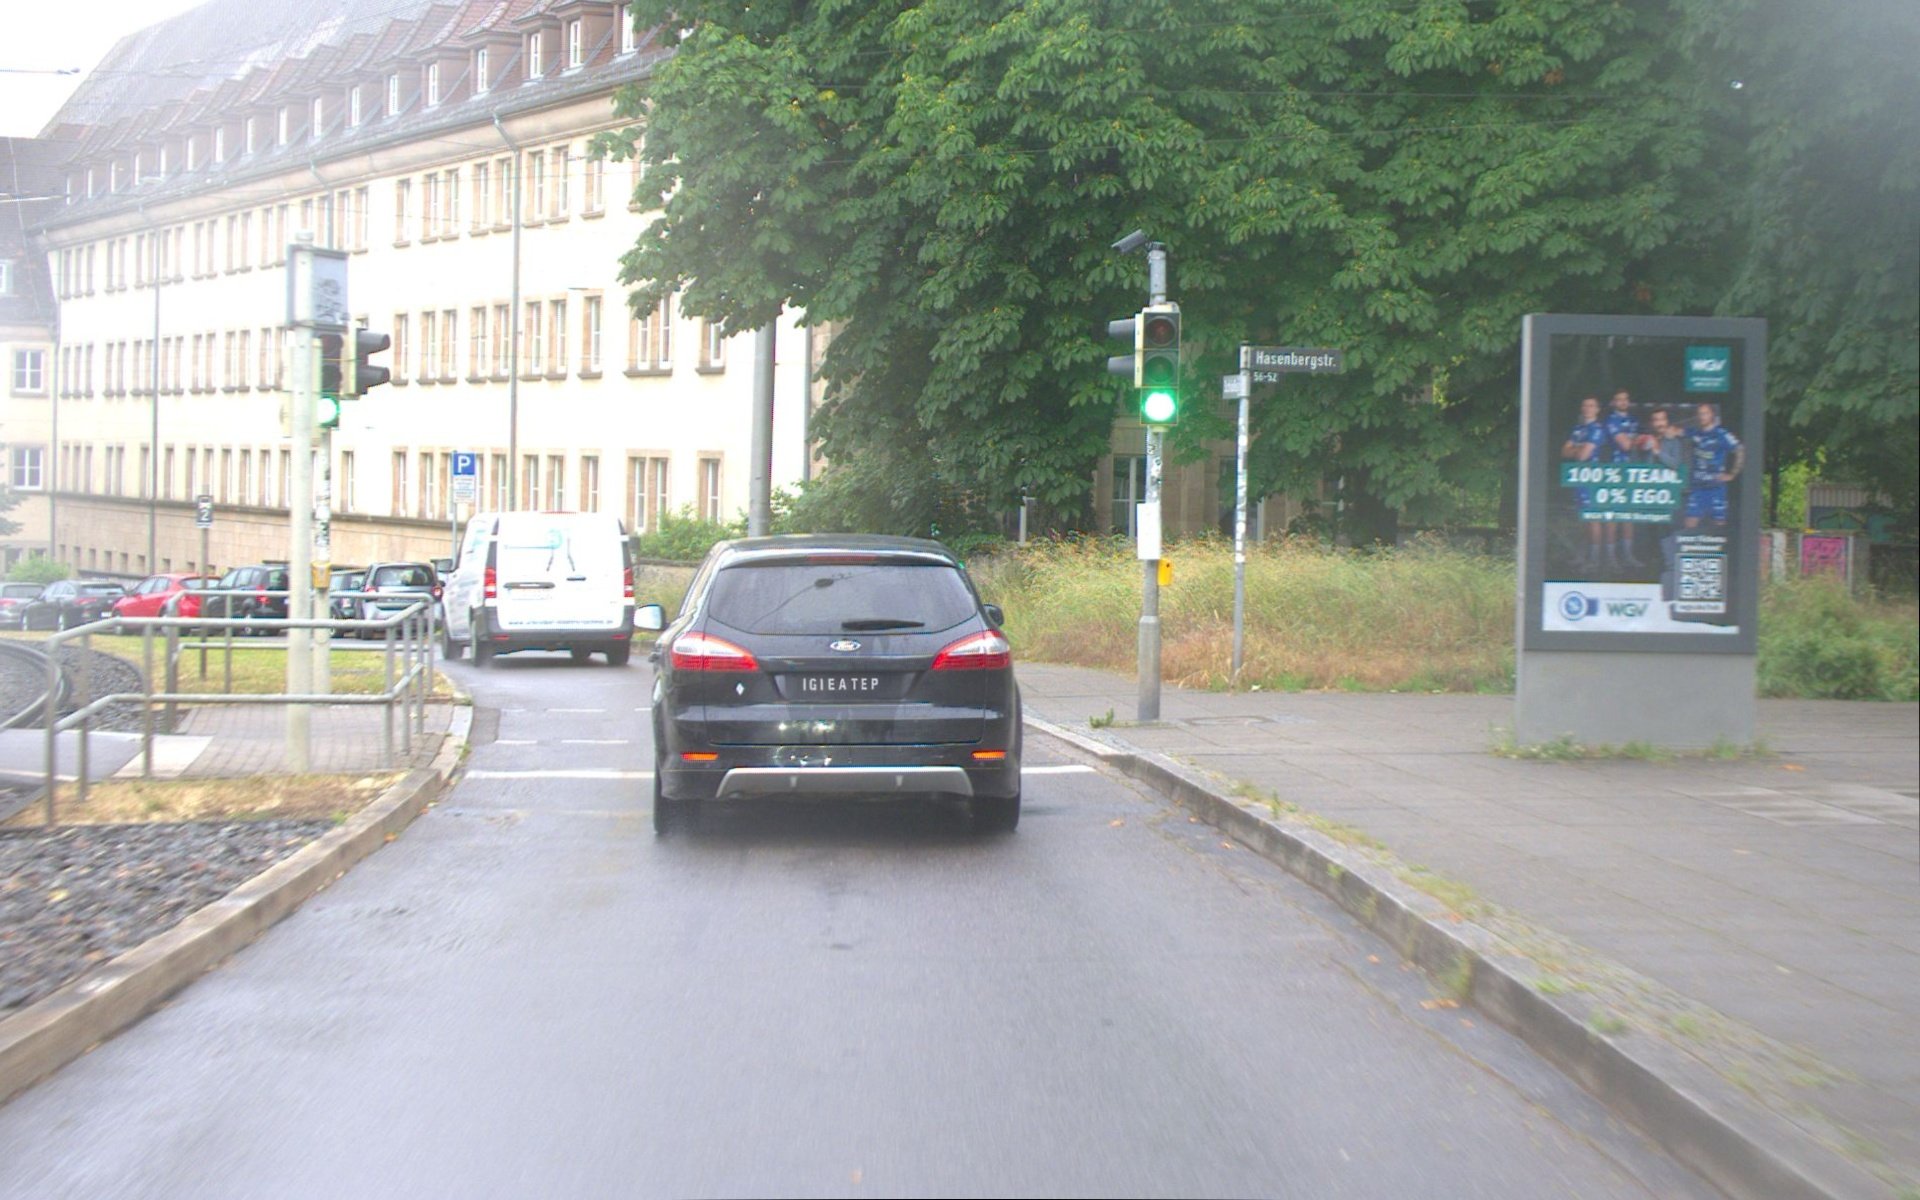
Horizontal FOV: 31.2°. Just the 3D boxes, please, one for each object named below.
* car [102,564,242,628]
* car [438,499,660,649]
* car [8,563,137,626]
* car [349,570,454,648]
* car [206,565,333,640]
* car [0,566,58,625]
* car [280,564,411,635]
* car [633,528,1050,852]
[{"bbox_3d":[-18.603,-0.077,81.050,1.666,1.471,4.065,0,0,-38],"label":"car"},{"bbox_3d":[-5.140,-0.344,42.519,2.136,1.739,4.219,-1,1,-15],"label":"car"},{"bbox_3d":[-22.047,-0.139,85.280,1.666,1.471,4.457,-2,1,-34],"label":"car"},{"bbox_3d":[-11.055,0.159,67.939,1.597,1.460,2.721,-2,1,-19],"label":"car"},{"bbox_3d":[-15.392,0.047,76.491,1.665,1.567,3.856,-2,1,-28],"label":"car"},{"bbox_3d":[-25.256,-0.114,90.132,1.666,1.471,4.108,-2,1,-37],"label":"car"},{"bbox_3d":[-12.801,-0.017,71.504,1.536,1.411,3.644,-2,1,-29],"label":"car"},{"bbox_3d":[-0.694,0.381,17.969,1.920,1.474,4.001,-1,1,-4],"label":"car"}]
